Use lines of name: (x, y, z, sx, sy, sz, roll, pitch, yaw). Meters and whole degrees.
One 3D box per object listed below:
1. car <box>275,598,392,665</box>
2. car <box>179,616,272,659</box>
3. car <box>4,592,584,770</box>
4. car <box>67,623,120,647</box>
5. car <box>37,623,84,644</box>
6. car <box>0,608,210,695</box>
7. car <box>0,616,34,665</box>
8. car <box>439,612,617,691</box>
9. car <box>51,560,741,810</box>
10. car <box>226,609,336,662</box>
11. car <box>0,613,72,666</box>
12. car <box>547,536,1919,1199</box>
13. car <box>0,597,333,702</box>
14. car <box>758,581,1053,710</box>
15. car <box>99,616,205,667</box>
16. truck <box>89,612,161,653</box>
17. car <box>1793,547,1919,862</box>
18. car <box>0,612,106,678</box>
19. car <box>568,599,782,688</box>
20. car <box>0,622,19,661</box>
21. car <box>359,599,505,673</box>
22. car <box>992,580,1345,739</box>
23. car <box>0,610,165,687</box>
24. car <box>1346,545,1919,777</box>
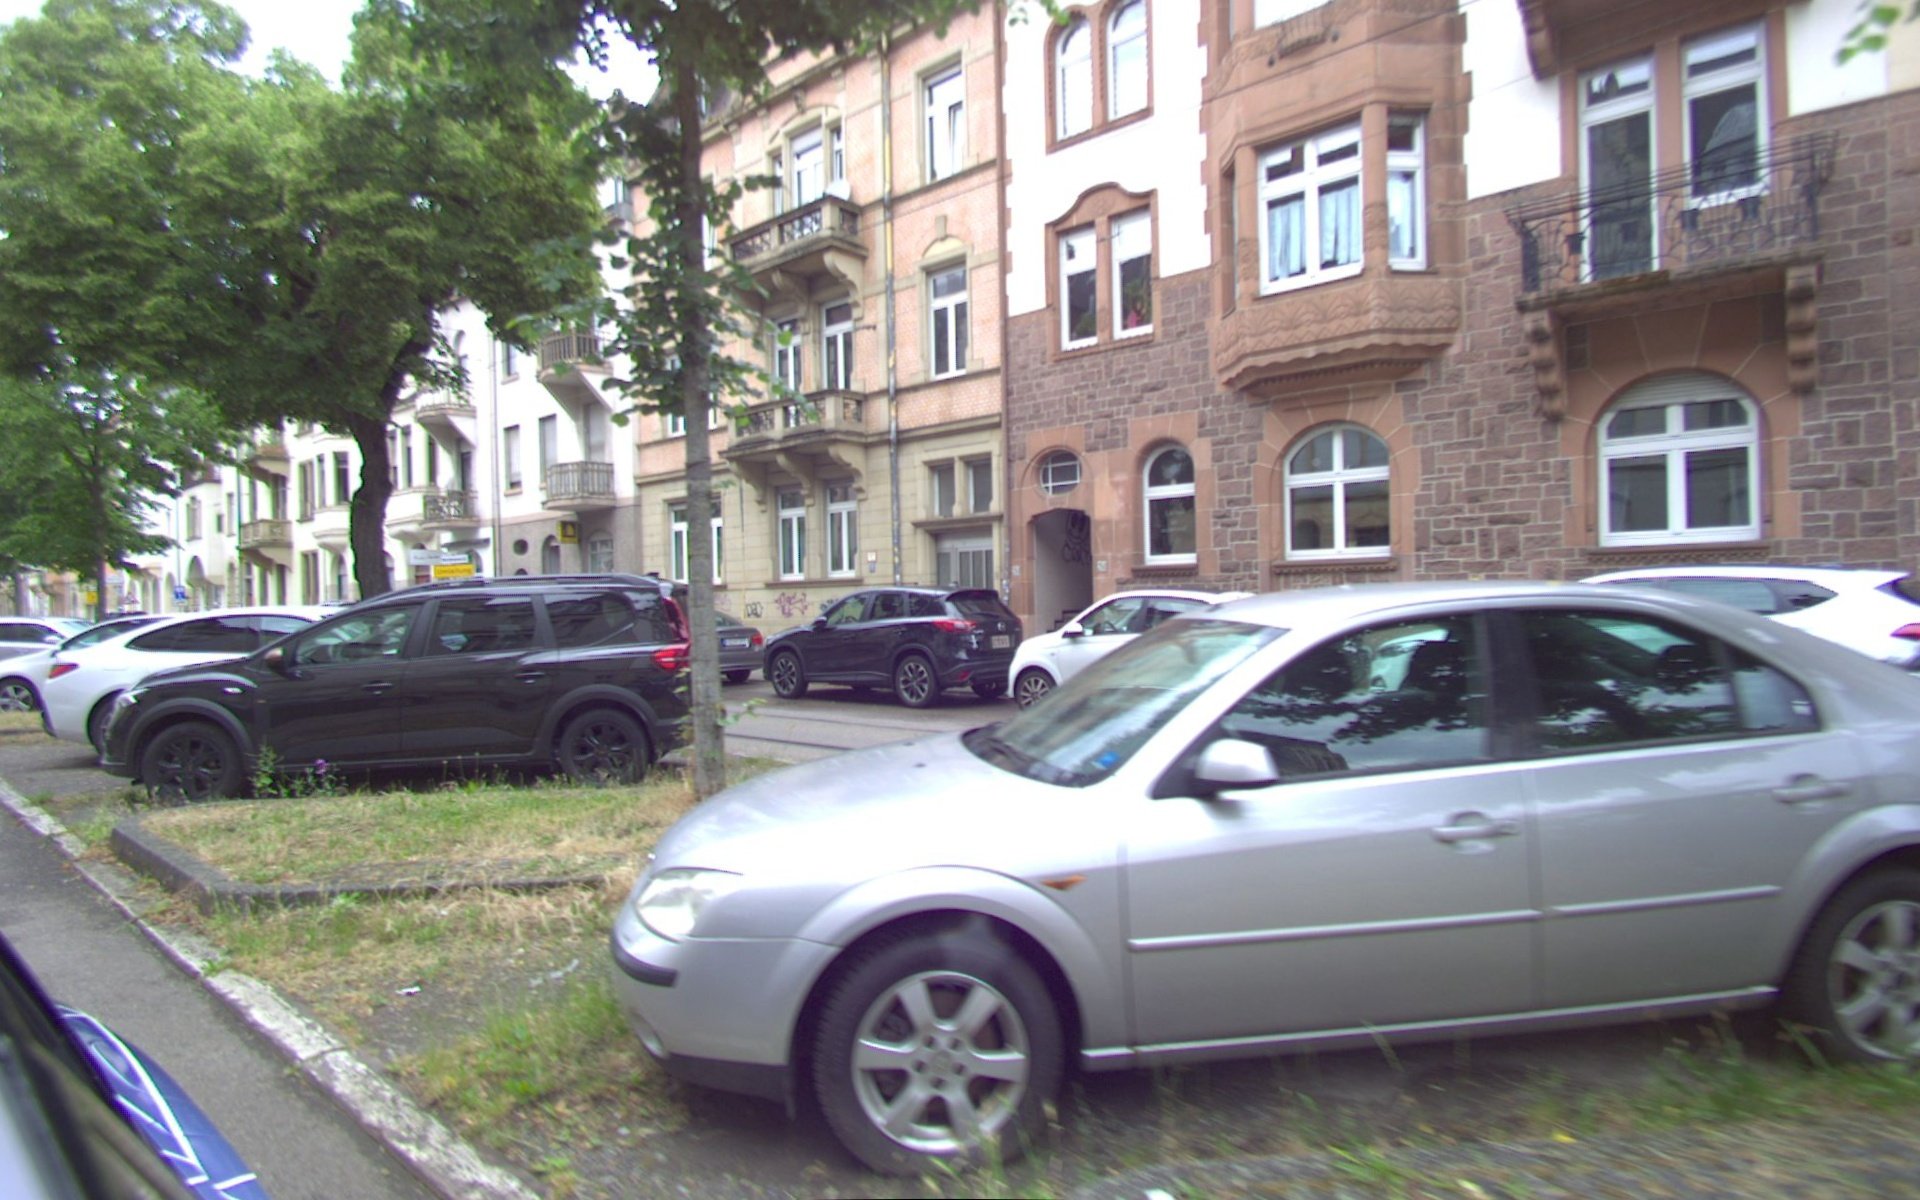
car: (-19.261, 0.946, 31.038, 4.429, 1.885, 1.831, -2, -1, 41)
car: (-28.229, 1.428, 38.847, 4.189, 1.534, 1.833, -2, -1, 38)
car: (-6.403, 0.717, 10.250, 4.472, 1.501, 2.038, -1, 0, -5)
car: (-47.935, 1.930, 55.949, 3.376, 1.185, 1.619, -2, 0, 39)
car: (-55.717, 2.061, 62.673, 3.376, 1.185, 1.619, -2, 0, 39)
car: (-17.581, 0.997, 19.686, 4.497, 1.504, 1.865, -2, 1, -3)
car: (-33.076, 1.423, 33.150, 3.755, 1.538, 1.677, -3, 1, -4)
car: (-9.510, 1.057, 22.141, 4.384, 1.501, 1.787, -1, 0, 40)
car: (-4.128, 0.578, 8.065, 4.463, 1.645, 1.767, -1, 0, -5)
car: (-23.123, 1.195, 34.390, 4.488, 1.672, 1.833, -2, -1, 38)
car: (-29.993, 1.220, 31.329, 3.374, 1.538, 1.693, -1, 1, -7)
car: (1.303, 0.557, 3.308, 4.595, 1.378, 1.760, -2, 0, -6)
car: (-11.898, 0.686, 14.934, 4.066, 1.322, 1.866, -2, 0, -6)
car: (-0.907, 0.594, 14.924, 4.317, 1.640, 1.751, -1, 0, 40)
car: (-26.007, 1.291, 32.508, 4.649, 1.464, 1.786, -1, 0, 40)
truck: (-41.759, 1.587, 50.568, 6.065, 1.870, 2.121, -2, 0, 45)
car: (5.889, 0.480, 4.863, 2.890, 1.526, 1.588, -1, 0, 40)
car: (-25.268, 1.172, 26.496, 4.140, 1.621, 1.728, -1, 1, -8)
car: (-5.398, 0.755, 18.915, 4.227, 1.449, 1.787, -1, 0, 40)
car: (-38.728, 1.651, 38.184, 4.539, 1.477, 1.888, -2, 0, -4)
car: (-13.457, 0.867, 25.685, 4.270, 1.692, 1.787, -1, 0, 40)
car: (2.343, 0.598, 11.860, 3.719, 1.571, 1.645, -1, 0, 40)
car: (-19.774, 1.034, 21.717, 3.940, 1.496, 1.778, -2, 0, -4)
car: (6.009, 0.442, 8.924, 4.550, 1.638, 1.723, -1, 0, 40)
